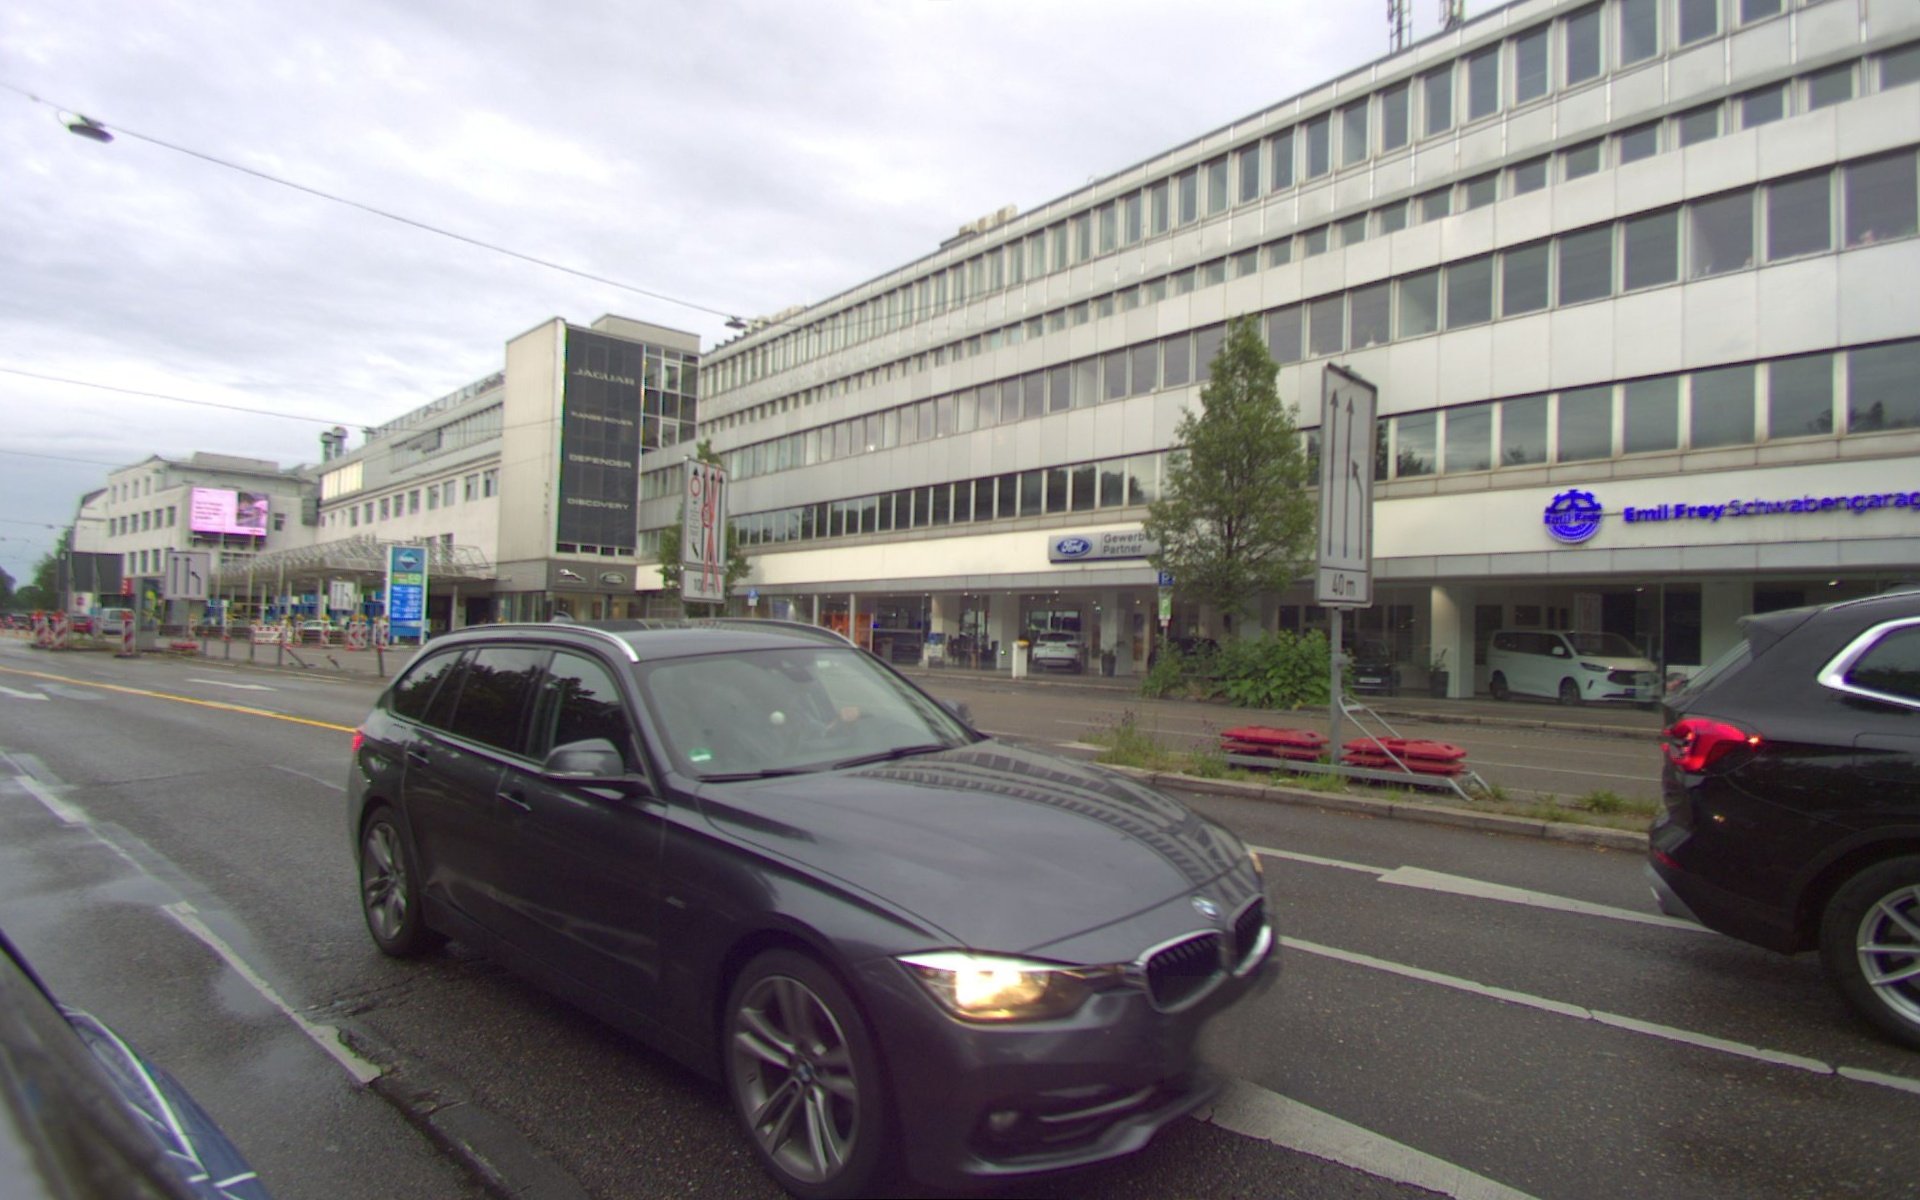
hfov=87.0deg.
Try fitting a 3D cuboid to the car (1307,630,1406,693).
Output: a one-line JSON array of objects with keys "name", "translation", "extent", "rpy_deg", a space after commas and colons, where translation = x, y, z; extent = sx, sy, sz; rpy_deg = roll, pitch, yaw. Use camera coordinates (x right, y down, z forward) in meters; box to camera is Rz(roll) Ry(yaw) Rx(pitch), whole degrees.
[{"name": "car", "translation": [11.095, 1.740, 28.586], "extent": [1.980, 1.586, 3.984], "rpy_deg": [1, -3, 12]}]

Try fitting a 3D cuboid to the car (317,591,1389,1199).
[{"name": "car", "translation": [-0.783, 0.737, 3.910], "extent": [4.176, 1.460, 1.741], "rpy_deg": [1, 2, 41]}]

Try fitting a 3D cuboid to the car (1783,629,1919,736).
[{"name": "car", "translation": [19.242, 1.655, 20.091], "extent": [1.976, 2.027, 5.195], "rpy_deg": [2, -3, 6]}]

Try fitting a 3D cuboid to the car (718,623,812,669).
[{"name": "car", "translation": [-8.388, 1.944, 43.323], "extent": [1.825, 1.792, 4.737], "rpy_deg": [5, -4, -40]}]

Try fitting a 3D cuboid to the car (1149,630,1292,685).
[{"name": "car", "translation": [8.162, 1.788, 31.953], "extent": [1.967, 1.586, 4.009], "rpy_deg": [4, -4, -36]}]

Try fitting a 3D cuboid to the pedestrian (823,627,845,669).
[{"name": "pedestrian", "translation": [-5.433, 2.072, 43.685], "extent": [0.709, 1.745, 0.539], "rpy_deg": [4, -4, -36]}]

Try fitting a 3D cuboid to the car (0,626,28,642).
[{"name": "car", "translation": [-94.510, 3.380, 100.964], "extent": [4.300, 1.570, 1.788], "rpy_deg": [-1, -3, 42]}]

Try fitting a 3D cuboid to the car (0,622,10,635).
[{"name": "car", "translation": [-130.473, 3.876, 137.033], "extent": [4.825, 1.720, 1.960], "rpy_deg": [0, -3, 39]}]

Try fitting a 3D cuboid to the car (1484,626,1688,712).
[{"name": "car", "translation": [15.785, 1.735, 25.915], "extent": [1.971, 1.912, 4.990], "rpy_deg": [2, -3, -2]}]

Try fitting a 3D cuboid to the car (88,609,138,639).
[{"name": "car", "translation": [-53.902, 1.516, 64.373], "extent": [4.299, 1.799, 1.715], "rpy_deg": [-1, -4, 41]}]

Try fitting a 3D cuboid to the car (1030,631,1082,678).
[{"name": "car", "translation": [3.703, 2.118, 39.289], "extent": [1.831, 1.664, 4.378], "rpy_deg": [2, -3, 5]}]

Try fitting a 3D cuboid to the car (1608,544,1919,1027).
[{"name": "car", "translation": [4.914, 0.582, 3.055], "extent": [4.671, 1.610, 1.925], "rpy_deg": [-2, -2, 44]}]

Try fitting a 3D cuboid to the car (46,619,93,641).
[{"name": "car", "translation": [-64.330, 2.166, 73.103], "extent": [4.369, 1.513, 1.811], "rpy_deg": [-1, -4, 40]}]

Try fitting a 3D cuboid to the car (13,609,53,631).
[{"name": "car", "translation": [-77.303, 1.691, 84.370], "extent": [4.601, 1.751, 1.826], "rpy_deg": [-1, -3, 41]}]
